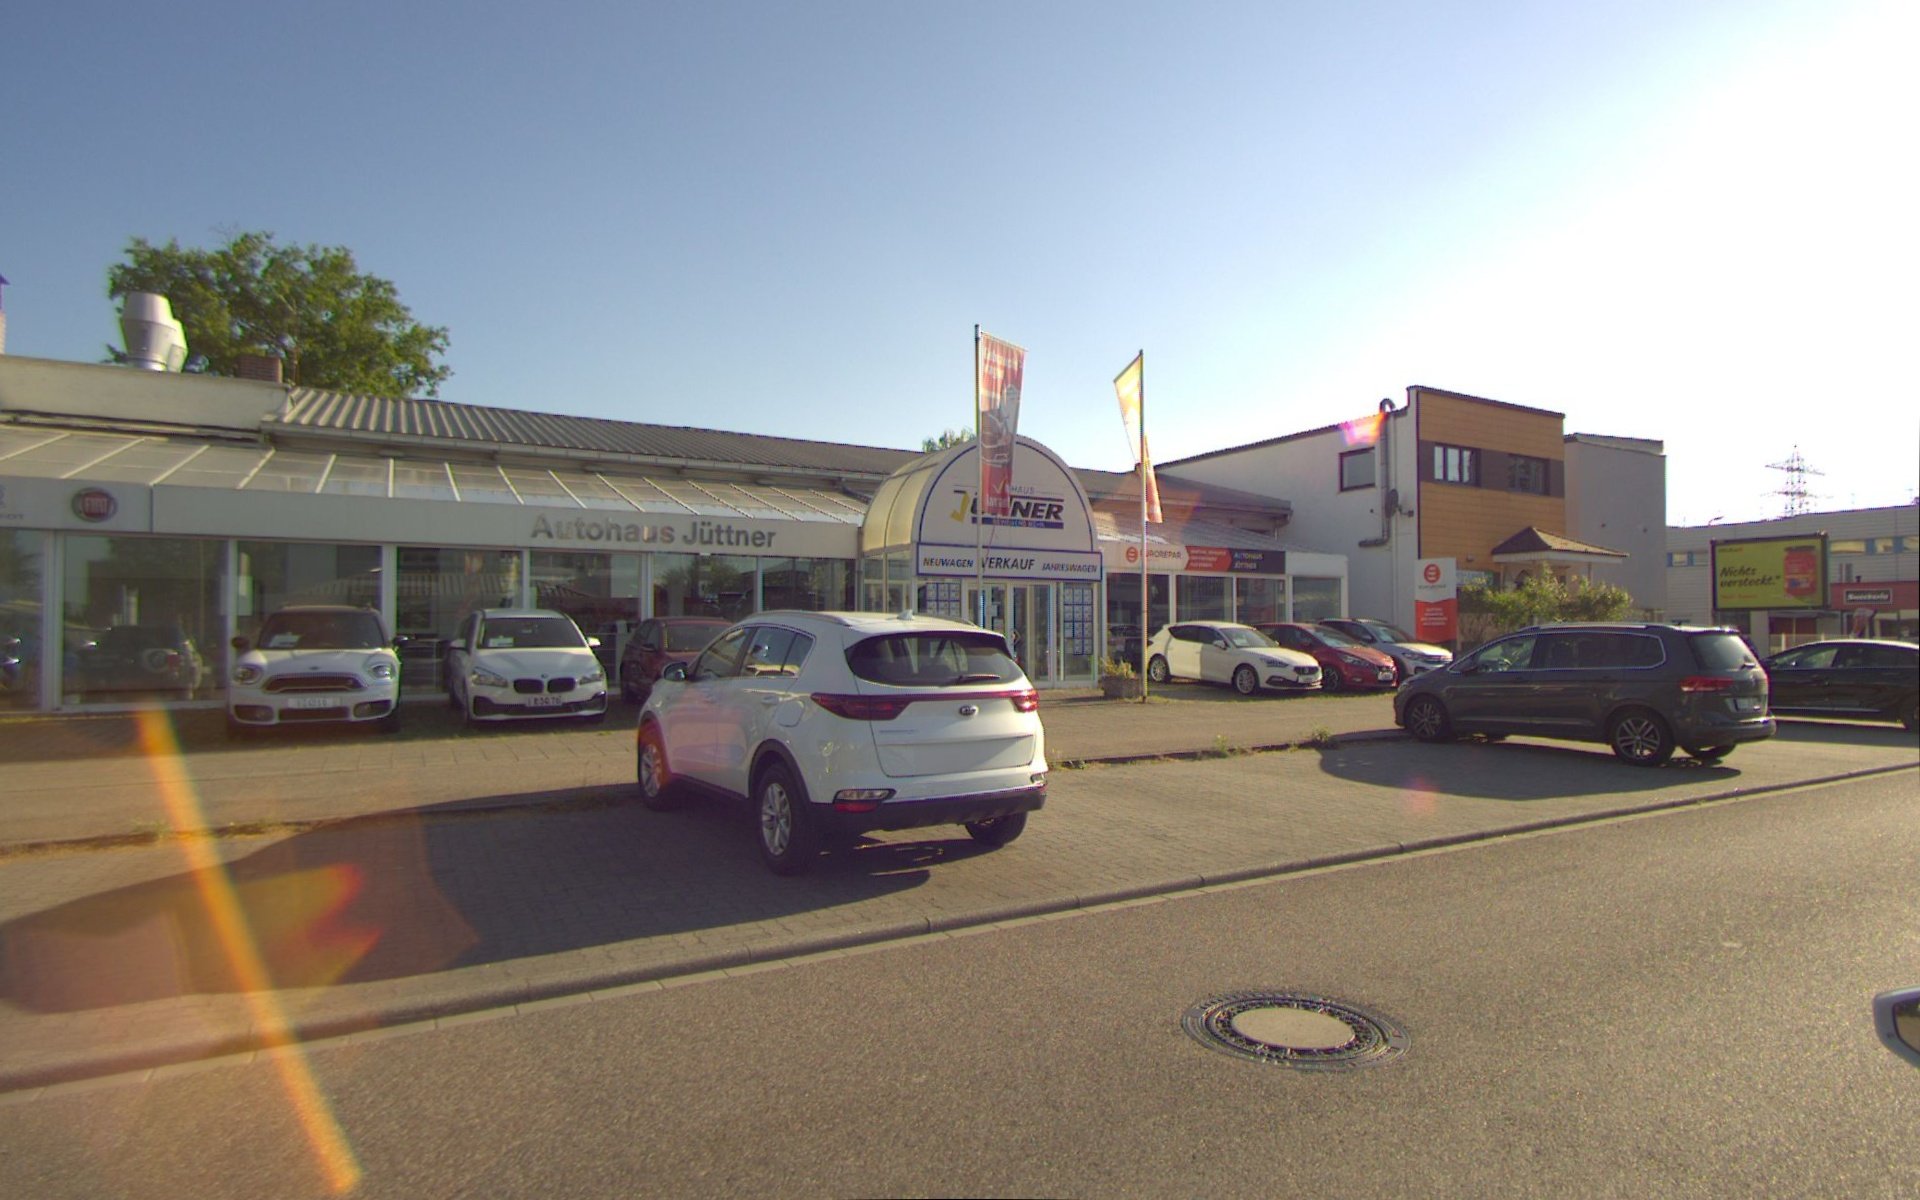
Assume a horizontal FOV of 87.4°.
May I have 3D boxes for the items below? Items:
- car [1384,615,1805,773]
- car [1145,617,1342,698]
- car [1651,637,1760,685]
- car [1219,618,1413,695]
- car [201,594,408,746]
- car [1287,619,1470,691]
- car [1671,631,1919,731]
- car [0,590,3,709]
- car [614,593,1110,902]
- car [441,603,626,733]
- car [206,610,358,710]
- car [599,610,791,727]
[{"bbox_3d":[8.156,1.075,13.296,2.178,1.677,4.207,2,-1,-32],"label":"car"},{"bbox_3d":[6.157,1.192,22.255,1.976,1.576,3.969,1,-1,-29],"label":"car"},{"bbox_3d":[29.632,2.386,39.897,4.288,1.598,1.984,-1,1,-30],"label":"car"},{"bbox_3d":[8.206,1.245,23.473,1.976,1.576,3.969,1,-1,-29],"label":"car"},{"bbox_3d":[-8.702,0.804,13.592,1.977,1.664,4.694,1,-1,-31],"label":"car"},{"bbox_3d":[10.255,1.290,24.879,1.865,1.576,3.893,1,-1,-29],"label":"car"},{"bbox_3d":[15.166,1.329,17.290,2.178,1.479,4.289,2,-1,-32],"label":"car"},{"bbox_3d":[-12.868,0.665,11.326,1.977,1.655,4.689,1,-1,-31],"label":"car"},{"bbox_3d":[-1.064,0.838,7.863,2.178,1.677,4.279,2,-1,-32],"label":"car"},{"bbox_3d":[-6.488,0.871,14.962,1.907,1.613,4.637,1,-1,-31],"label":"car"},{"bbox_3d":[-12.008,1.098,18.088,1.977,1.535,4.723,1,-4,-31],"label":"car"},{"bbox_3d":[-4.390,0.978,16.127,1.815,1.574,4.441,1,-1,-31],"label":"car"}]
